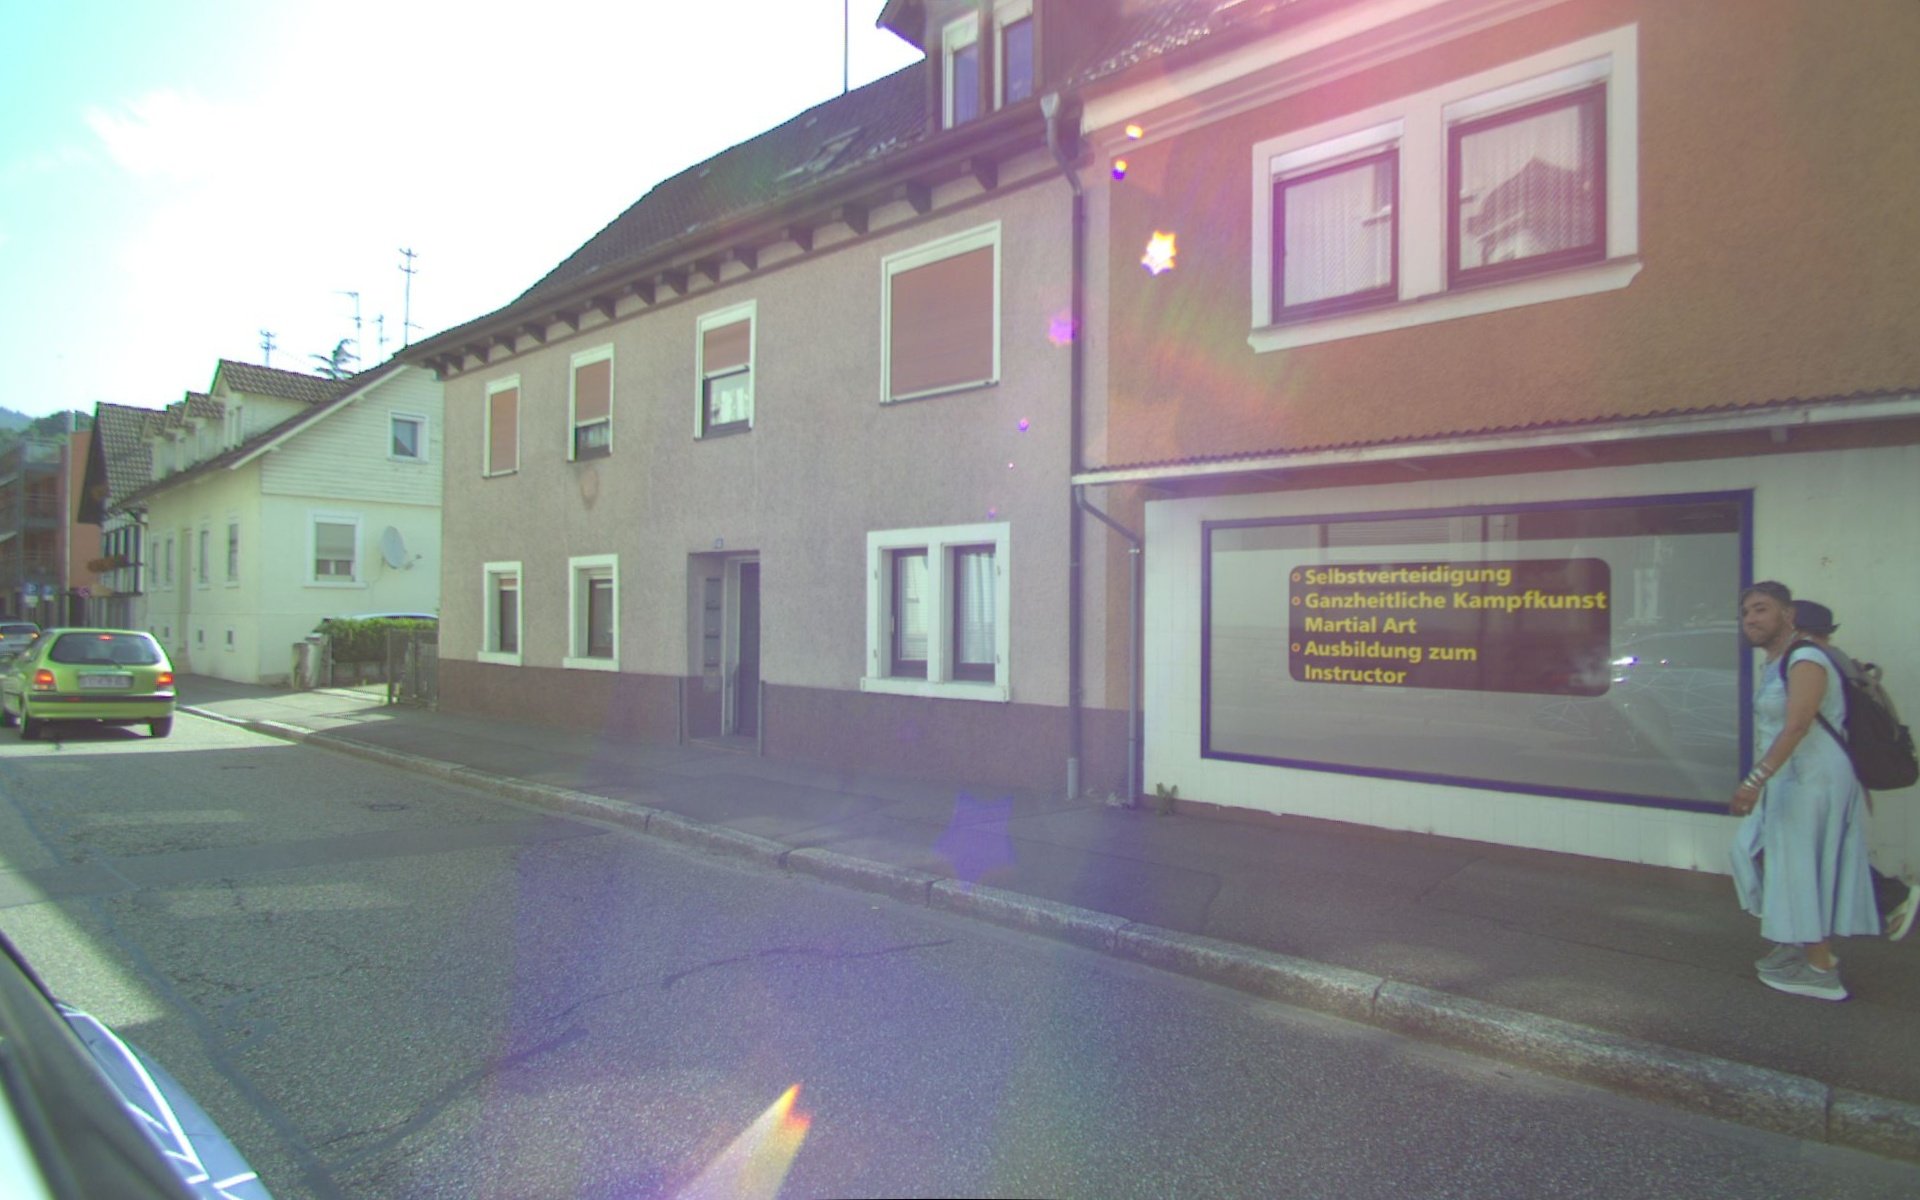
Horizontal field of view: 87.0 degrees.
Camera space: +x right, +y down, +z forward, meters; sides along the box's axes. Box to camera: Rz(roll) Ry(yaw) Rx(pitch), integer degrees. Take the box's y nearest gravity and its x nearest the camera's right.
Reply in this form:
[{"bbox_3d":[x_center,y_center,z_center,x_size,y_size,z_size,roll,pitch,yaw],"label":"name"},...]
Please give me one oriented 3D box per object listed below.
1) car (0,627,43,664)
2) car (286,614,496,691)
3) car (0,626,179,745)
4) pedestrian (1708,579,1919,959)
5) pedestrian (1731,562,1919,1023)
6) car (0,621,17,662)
[{"bbox_3d":[-39.648,1.881,42.242,3.567,1.443,1.649,-2,-1,42],"label":"car"},{"bbox_3d":[-13.424,1.166,24.060,1.905,1.606,3.948,-1,-1,38],"label":"car"},{"bbox_3d":[-12.562,1.151,14.367,3.658,1.475,1.580,-1,-5,42],"label":"car"},{"bbox_3d":[4.020,0.704,4.669,0.824,1.576,0.727,-1,0,42],"label":"pedestrian"},{"bbox_3d":[3.516,0.688,3.924,0.776,1.639,0.633,-1,-1,41],"label":"pedestrian"},{"bbox_3d":[-43.868,1.849,45.385,4.264,1.810,1.703,-1,-2,39],"label":"car"}]
